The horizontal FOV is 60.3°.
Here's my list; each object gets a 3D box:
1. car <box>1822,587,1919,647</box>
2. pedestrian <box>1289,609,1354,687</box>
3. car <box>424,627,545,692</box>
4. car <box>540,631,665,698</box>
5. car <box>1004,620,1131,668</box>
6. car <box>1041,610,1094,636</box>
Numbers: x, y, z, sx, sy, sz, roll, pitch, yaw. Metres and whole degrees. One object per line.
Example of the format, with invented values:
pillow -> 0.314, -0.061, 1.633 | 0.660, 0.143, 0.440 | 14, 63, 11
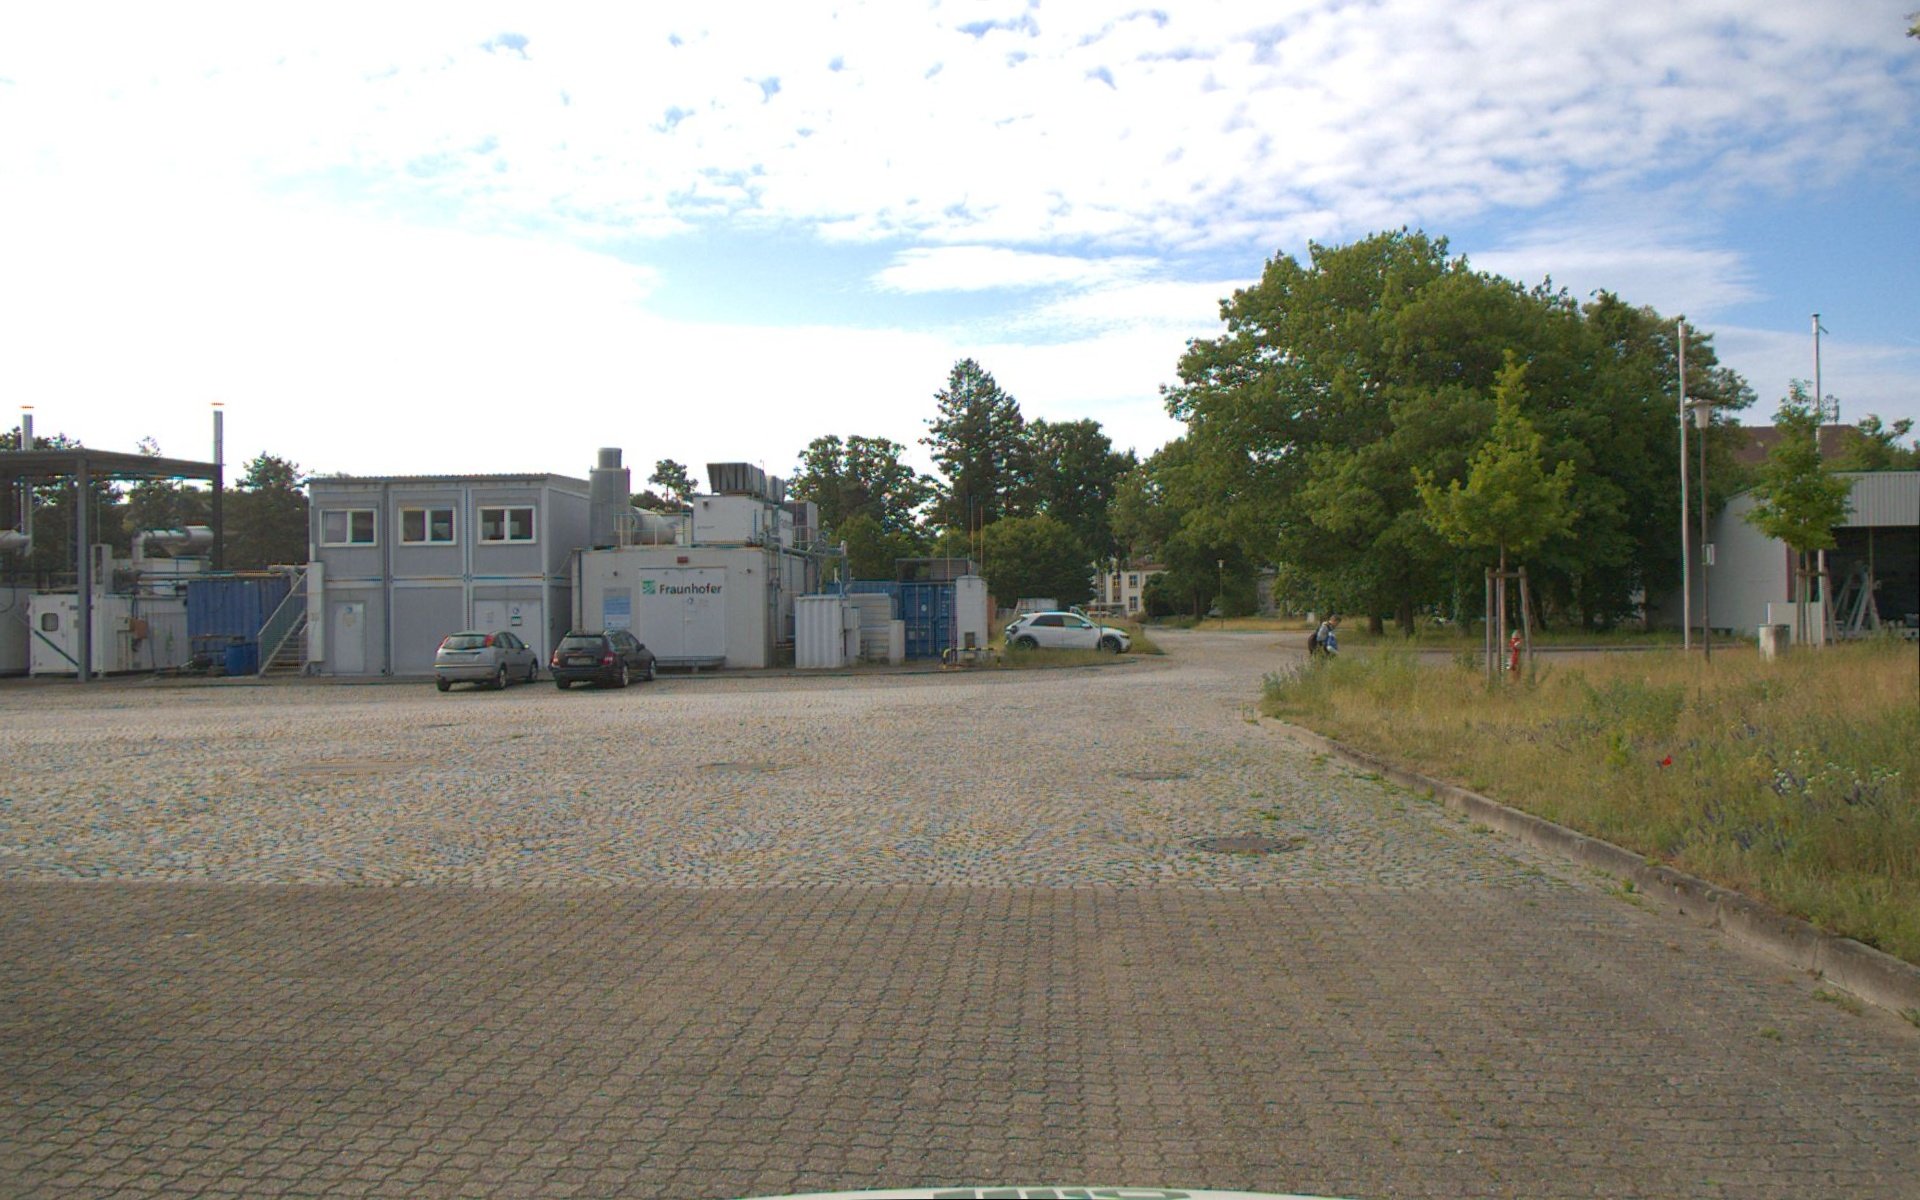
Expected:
car -> 33.827, 0.621, 60.284 | 2.194, 2.049, 5.338 | -1, -1, 2
pedestrian -> 7.491, 0.997, 34.263 | 1.054, 1.584, 1.073 | -2, -1, 27
car -> -12.393, 1.522, 43.387 | 1.867, 1.501, 4.048 | -1, 0, 2
car -> -9.199, 1.620, 42.929 | 1.993, 1.478, 4.532 | -1, 1, 4
car -> 3.887, 1.573, 59.348 | 4.438, 1.628, 2.001 | -1, -1, 6
car -> 10.410, 2.261, 160.775 | 5.062, 2.378, 2.001 | -1, -1, 3
